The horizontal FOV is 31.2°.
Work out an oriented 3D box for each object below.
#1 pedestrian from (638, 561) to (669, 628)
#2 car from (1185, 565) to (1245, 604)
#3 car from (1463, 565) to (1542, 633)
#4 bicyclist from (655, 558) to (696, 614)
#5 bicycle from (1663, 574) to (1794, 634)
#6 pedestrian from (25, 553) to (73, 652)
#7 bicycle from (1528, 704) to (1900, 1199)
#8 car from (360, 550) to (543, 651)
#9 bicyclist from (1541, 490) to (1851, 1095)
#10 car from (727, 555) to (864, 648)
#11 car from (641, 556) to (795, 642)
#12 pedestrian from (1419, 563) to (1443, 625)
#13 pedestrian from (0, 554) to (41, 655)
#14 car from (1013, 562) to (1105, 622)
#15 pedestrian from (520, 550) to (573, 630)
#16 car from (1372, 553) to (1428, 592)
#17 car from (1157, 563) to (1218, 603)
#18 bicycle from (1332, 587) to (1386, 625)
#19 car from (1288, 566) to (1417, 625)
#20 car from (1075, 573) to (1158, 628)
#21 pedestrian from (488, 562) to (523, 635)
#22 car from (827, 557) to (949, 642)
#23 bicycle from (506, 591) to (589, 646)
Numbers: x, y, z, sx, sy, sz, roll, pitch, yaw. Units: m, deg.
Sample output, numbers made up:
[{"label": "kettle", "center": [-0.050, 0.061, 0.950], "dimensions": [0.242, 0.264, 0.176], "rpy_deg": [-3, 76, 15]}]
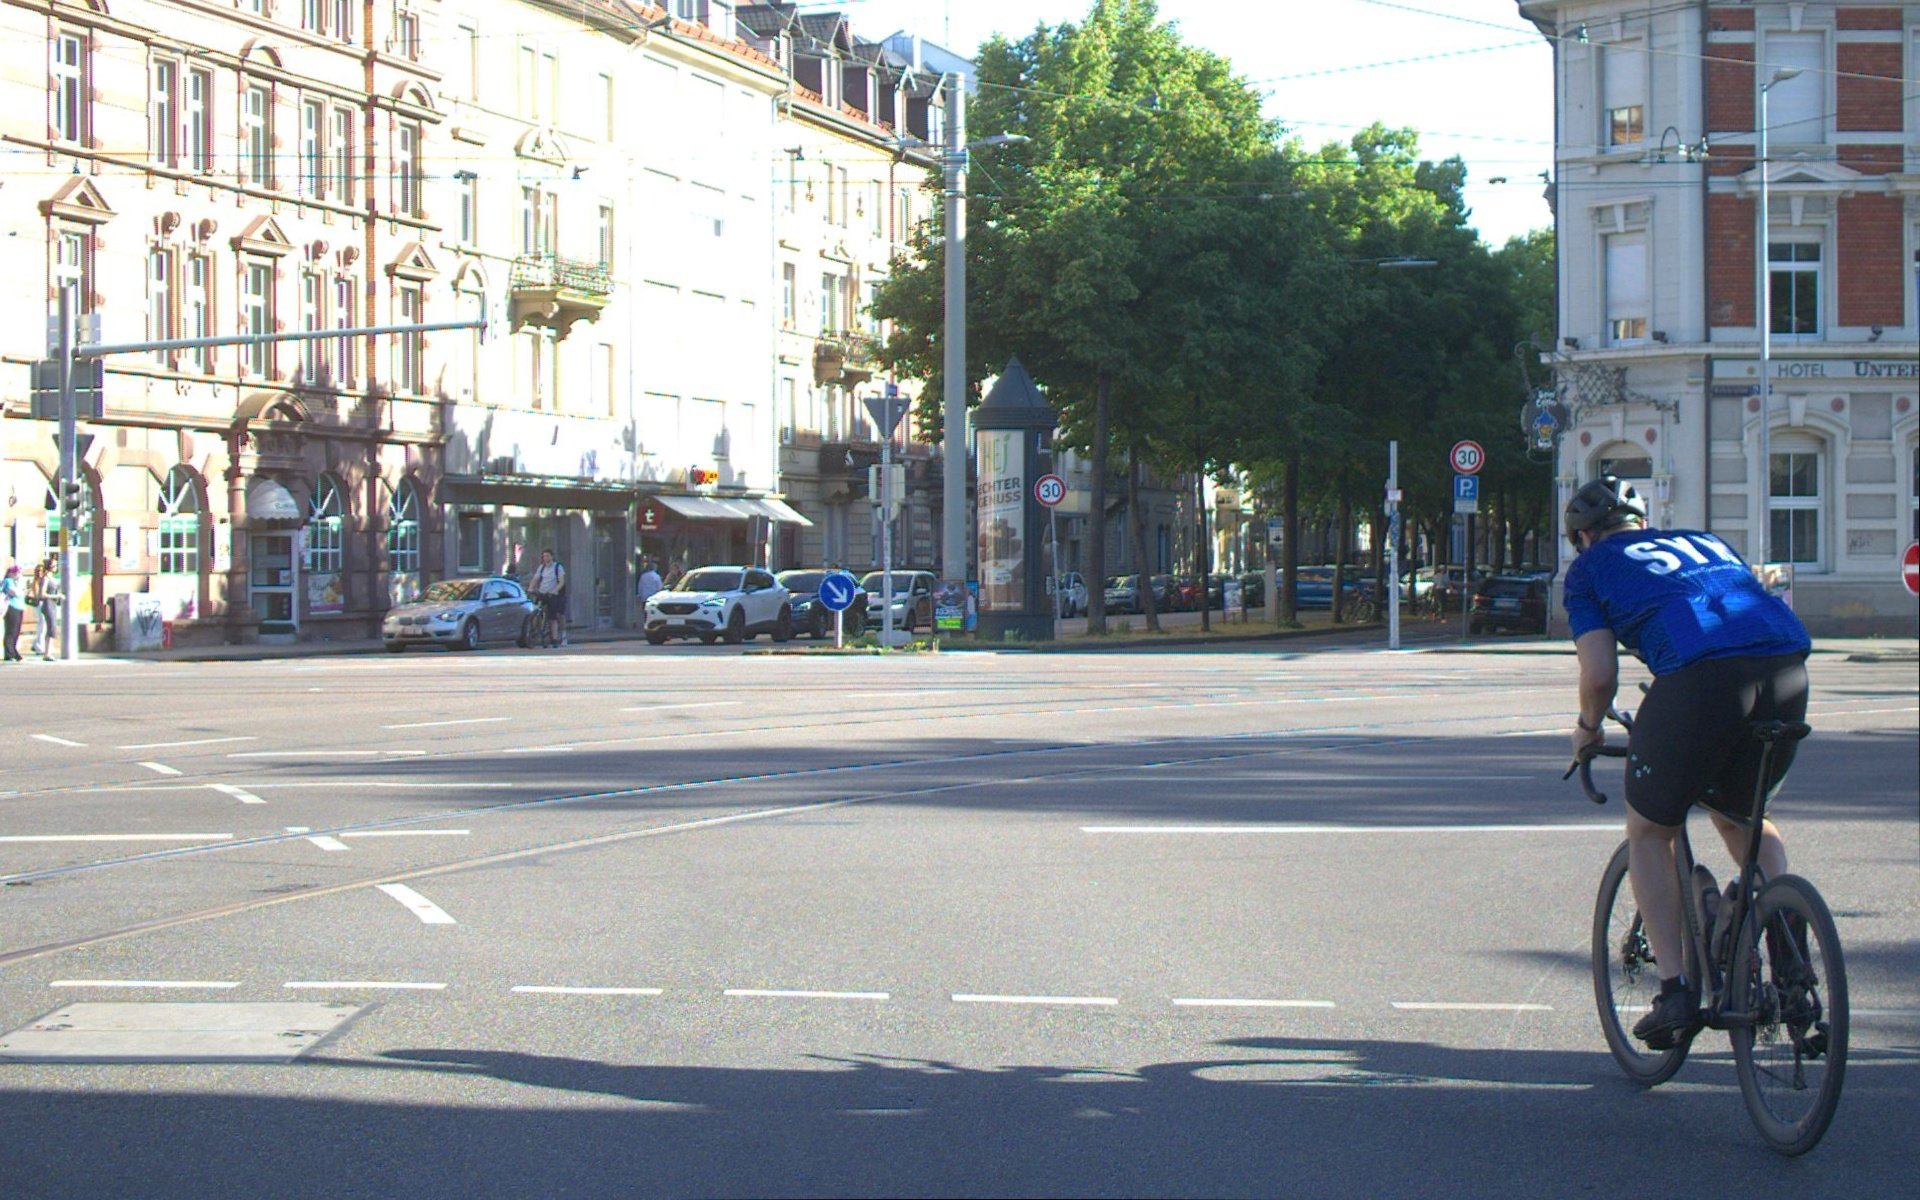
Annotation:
[{"label": "pedestrian", "center": [-7.517, -0.147, 84.287], "dimensions": [0.544, 1.626, 0.706], "rpy_deg": [1, 0, 13]}, {"label": "car", "center": [10.117, -0.632, 136.196], "dimensions": [1.560, 1.508, 3.653], "rpy_deg": [1, 1, 17]}, {"label": "car", "center": [13.057, -0.037, 82.608], "dimensions": [1.692, 1.559, 3.839], "rpy_deg": [1, 1, 11]}, {"label": "bicyclist", "center": [-6.060, -0.293, 73.261], "dimensions": [0.632, 1.181, 0.684], "rpy_deg": [1, 0, 21]}, {"label": "bicycle", "center": [12.760, 0.064, 57.092], "dimensions": [2.049, 0.994, 0.630], "rpy_deg": [0, 0, 3]}, {"label": "pedestrian", "center": [-15.148, 0.037, 57.198], "dimensions": [0.633, 1.628, 0.701], "rpy_deg": [1, 0, -4]}, {"label": "bicycle", "center": [1.887, 0.847, 8.818], "dimensions": [0.626, 1.081, 1.703], "rpy_deg": [1, 1, 2]}, {"label": "car", "center": [-9.883, -0.005, 67.109], "dimensions": [1.995, 1.897, 3.997], "rpy_deg": [1, 1, 17]}, {"label": "bicyclist", "center": [1.904, 0.466, 8.997], "dimensions": [0.639, 1.489, 0.883], "rpy_deg": [1, 2, 4]}, {"label": "car", "center": [-3.489, 0.018, 73.649], "dimensions": [1.994, 1.897, 3.998], "rpy_deg": [1, 1, 11]}, {"label": "car", "center": [-4.709, -0.036, 67.463], "dimensions": [1.994, 1.612, 3.998], "rpy_deg": [1, 1, 11]}, {"label": "pedestrian", "center": [13.720, -0.180, 100.139], "dimensions": [0.640, 1.790, 0.490], "rpy_deg": [1, 0, 12]}, {"label": "pedestrian", "center": [-15.342, 0.070, 55.919], "dimensions": [0.633, 1.628, 0.701], "rpy_deg": [1, 0, -4]}, {"label": "car", "center": [3.268, -0.279, 112.719], "dimensions": [1.995, 1.897, 3.997], "rpy_deg": [1, 1, 17]}, {"label": "pedestrian", "center": [-7.839, -0.189, 65.223], "dimensions": [0.821, 1.507, 0.598], "rpy_deg": [1, 0, 15]}, {"label": "car", "center": [17.226, -1.070, 134.587], "dimensions": [1.560, 1.508, 3.653], "rpy_deg": [1, 1, 17]}, {"label": "car", "center": [8.754, -0.657, 132.074], "dimensions": [1.560, 1.508, 3.653], "rpy_deg": [1, 1, 17]}, {"label": "bicycle", "center": [11.494, 0.167, 99.087], "dimensions": [0.626, 1.081, 1.703], "rpy_deg": [1, 1, -31]}, {"label": "car", "center": [13.149, -0.165, 114.990], "dimensions": [3.990, 1.897, 1.998], "rpy_deg": [1, 0, 16]}, {"label": "car", "center": [5.601, -0.002, 122.694], "dimensions": [1.995, 1.897, 3.997], "rpy_deg": [1, 1, 17]}, {"label": "pedestrian", "center": [-10.190, -0.044, 77.051], "dimensions": [0.544, 1.626, 0.706], "rpy_deg": [1, 0, 13]}, {"label": "car", "center": [-1.635, -0.018, 79.813], "dimensions": [1.994, 1.897, 3.998], "rpy_deg": [1, 1, 11]}, {"label": "bicycle", "center": [-7.825, 0.338, 65.302], "dimensions": [0.763, 1.004, 2.395], "rpy_deg": [1, 1, 13]}]
